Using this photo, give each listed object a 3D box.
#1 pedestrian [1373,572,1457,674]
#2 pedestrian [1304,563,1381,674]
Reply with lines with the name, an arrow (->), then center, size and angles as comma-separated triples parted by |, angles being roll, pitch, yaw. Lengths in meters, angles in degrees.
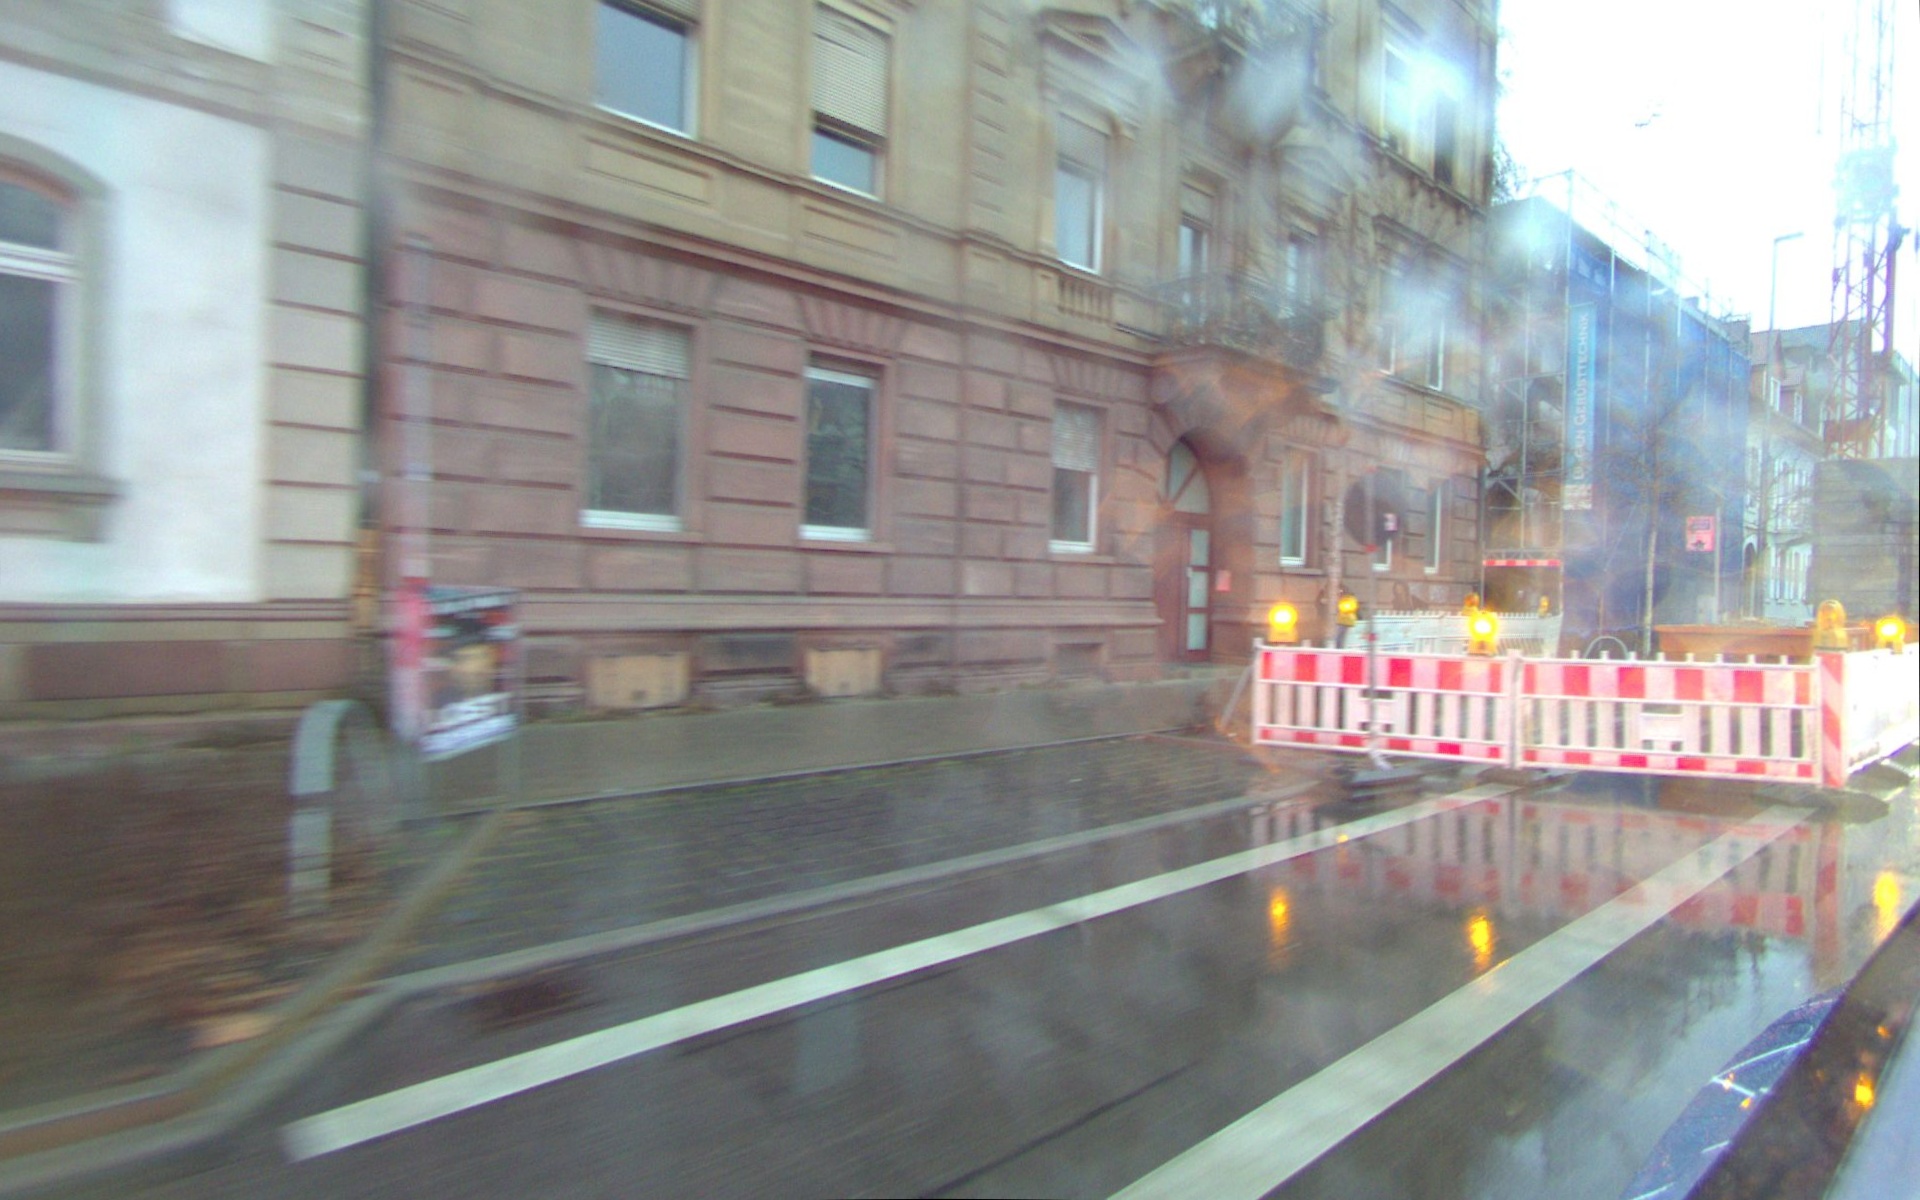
pedestrian -> 7.348, 0.347, 16.345 | 0.913, 1.564, 0.870 | 1, 2, -40
pedestrian -> 6.086, 0.270, 16.110 | 0.694, 1.693, 0.870 | 1, 2, -39
